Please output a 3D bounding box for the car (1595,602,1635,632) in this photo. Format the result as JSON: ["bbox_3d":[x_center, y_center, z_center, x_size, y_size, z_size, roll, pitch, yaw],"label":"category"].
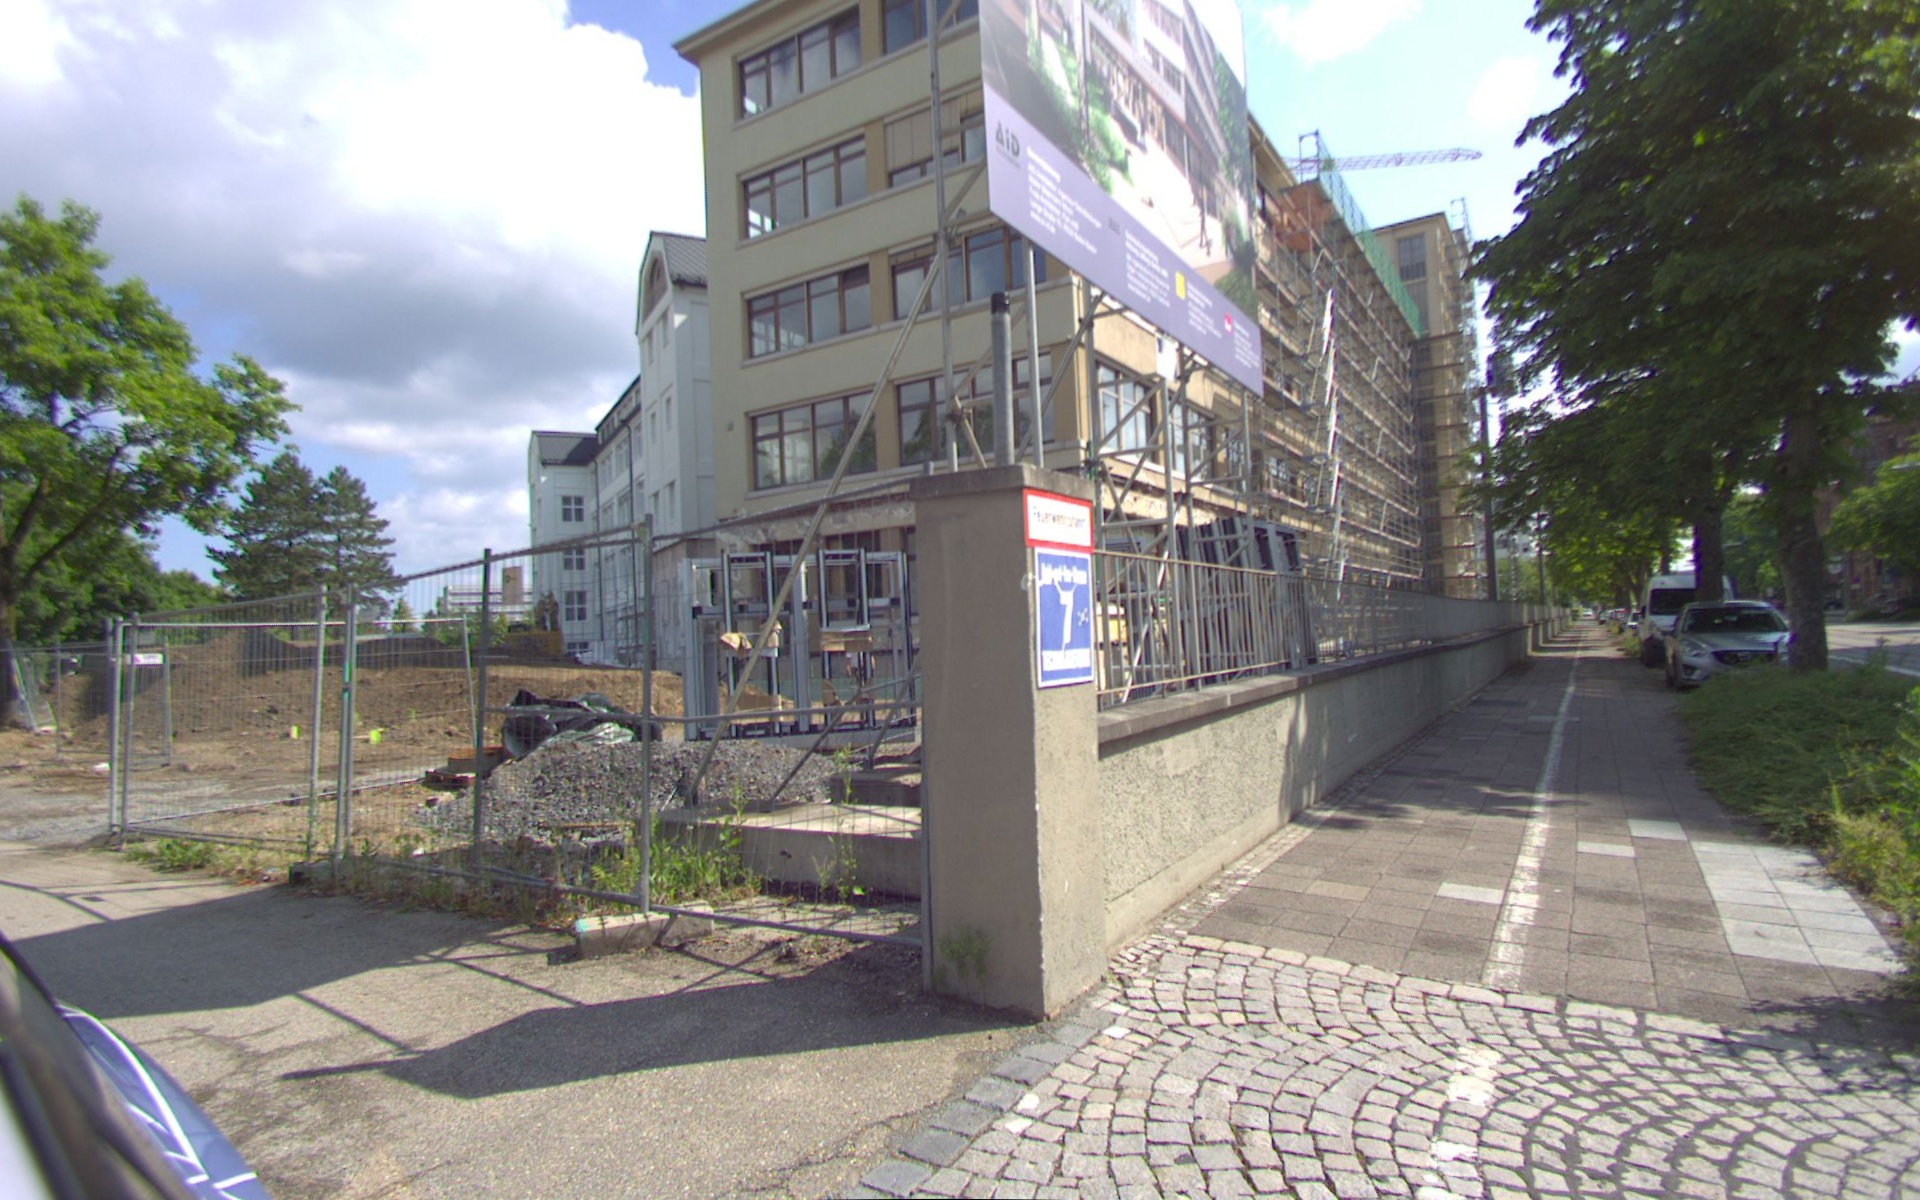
[{"bbox_3d":[40.046,1.022,61.986,1.745,1.618,4.191,-8,-4,31],"label":"car"}]

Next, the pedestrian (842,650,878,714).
[{"bbox_3d":[-2.174,1.767,21.918,0.455,1.323,0.637,-5,-2,-28],"label":"pedestrian"}]

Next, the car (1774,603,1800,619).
[{"bbox_3d":[86.642,1.124,106.074,1.625,1.586,3.908,-1,0,32],"label":"car"}]

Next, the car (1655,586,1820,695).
[{"bbox_3d":[13.915,0.694,18.362,1.745,1.618,4.191,-8,-4,31],"label":"car"}]

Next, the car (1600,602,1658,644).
[{"bbox_3d":[29.074,0.975,44.078,1.745,1.618,4.191,-8,-4,31],"label":"car"}]

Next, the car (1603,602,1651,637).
[{"bbox_3d":[34.729,0.991,52.807,1.745,1.618,4.191,-8,-4,31],"label":"car"}]

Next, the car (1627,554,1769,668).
[{"bbox_3d":[19.590,0.315,27.142,2.331,2.579,5.333,-7,-4,31],"label":"car"}]
